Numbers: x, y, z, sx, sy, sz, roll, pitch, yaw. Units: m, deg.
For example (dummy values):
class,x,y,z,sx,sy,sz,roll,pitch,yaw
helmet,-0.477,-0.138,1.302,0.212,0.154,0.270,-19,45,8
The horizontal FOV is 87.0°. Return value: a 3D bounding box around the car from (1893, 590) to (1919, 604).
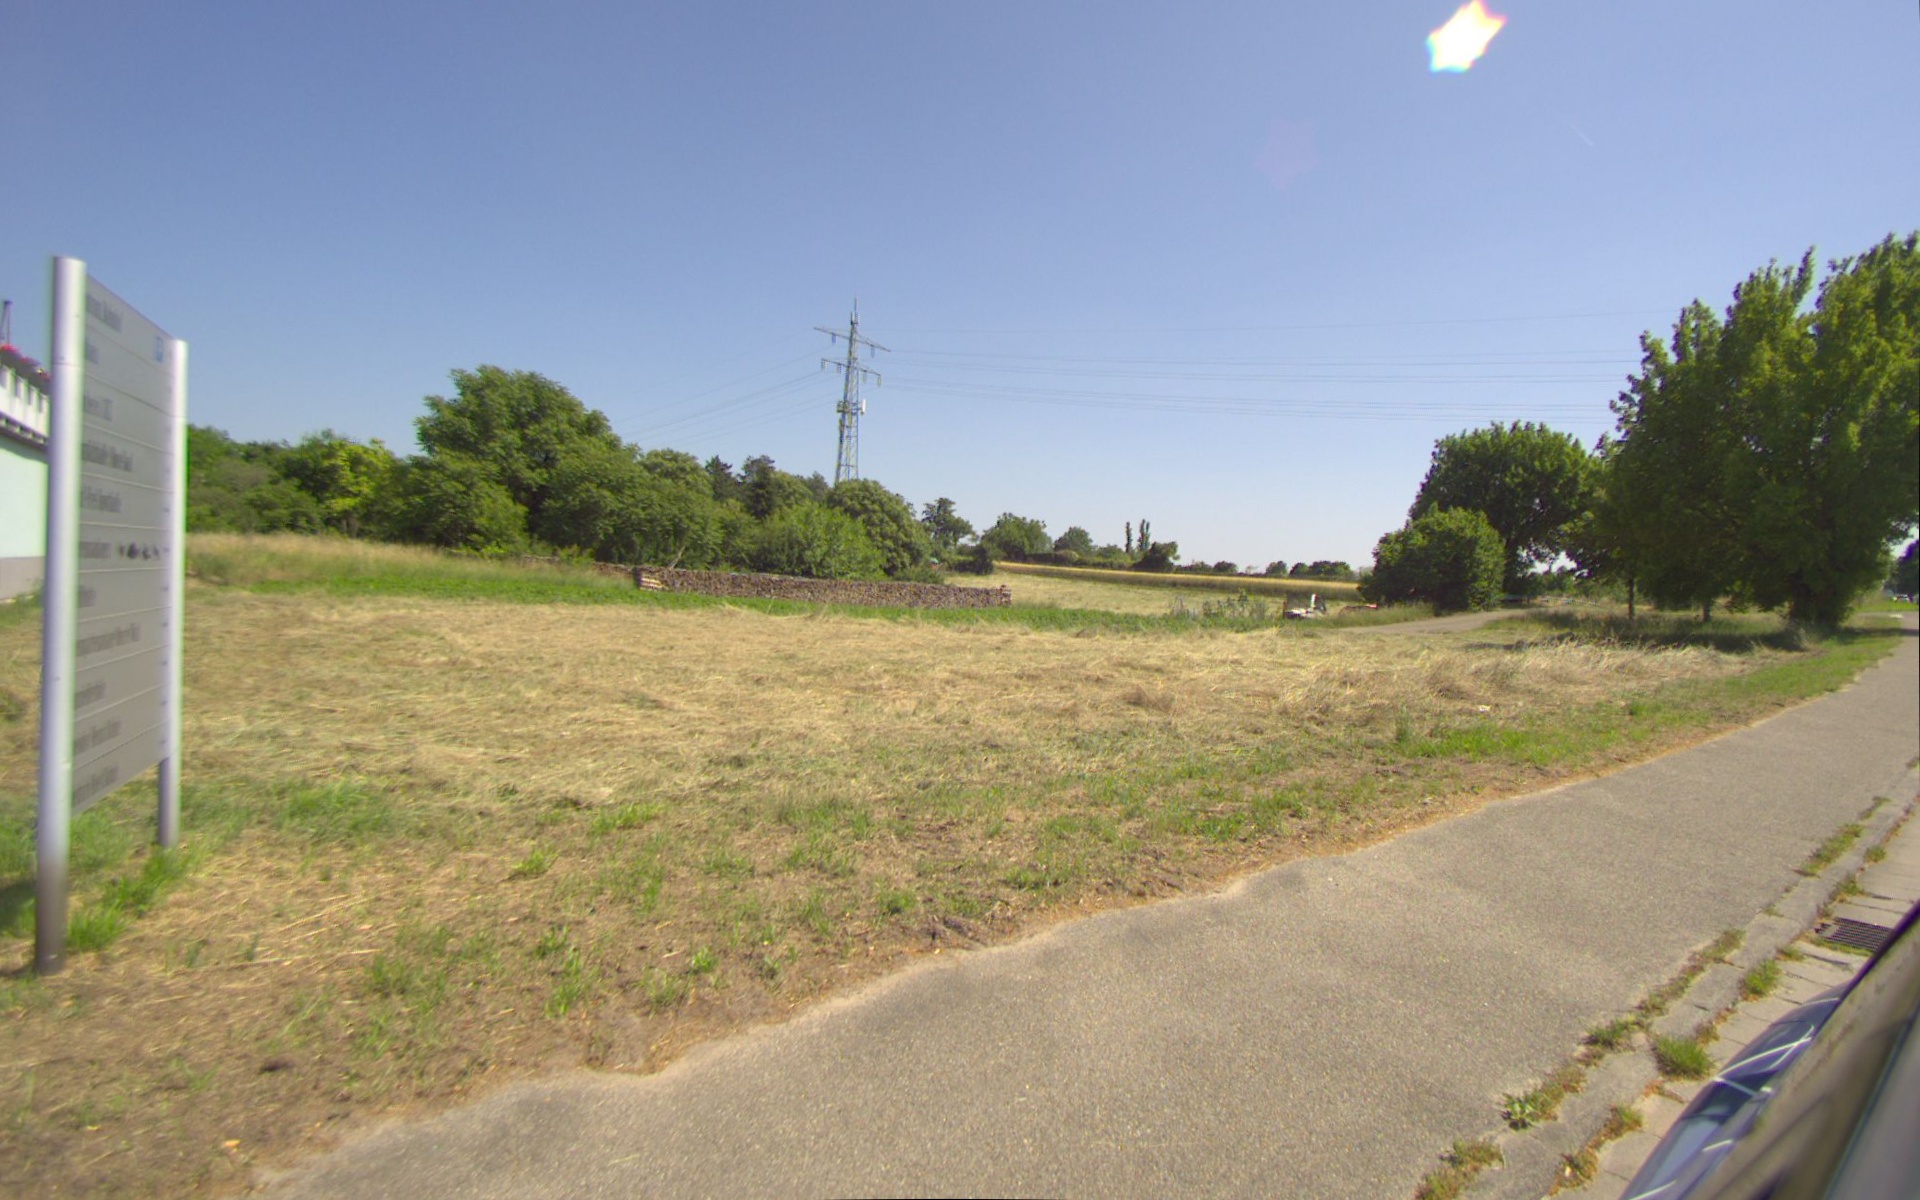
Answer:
class,x,y,z,sx,sy,sz,roll,pitch,yaw
car,106.850,-0.332,114.112,1.641,1.451,3.854,2,1,31
